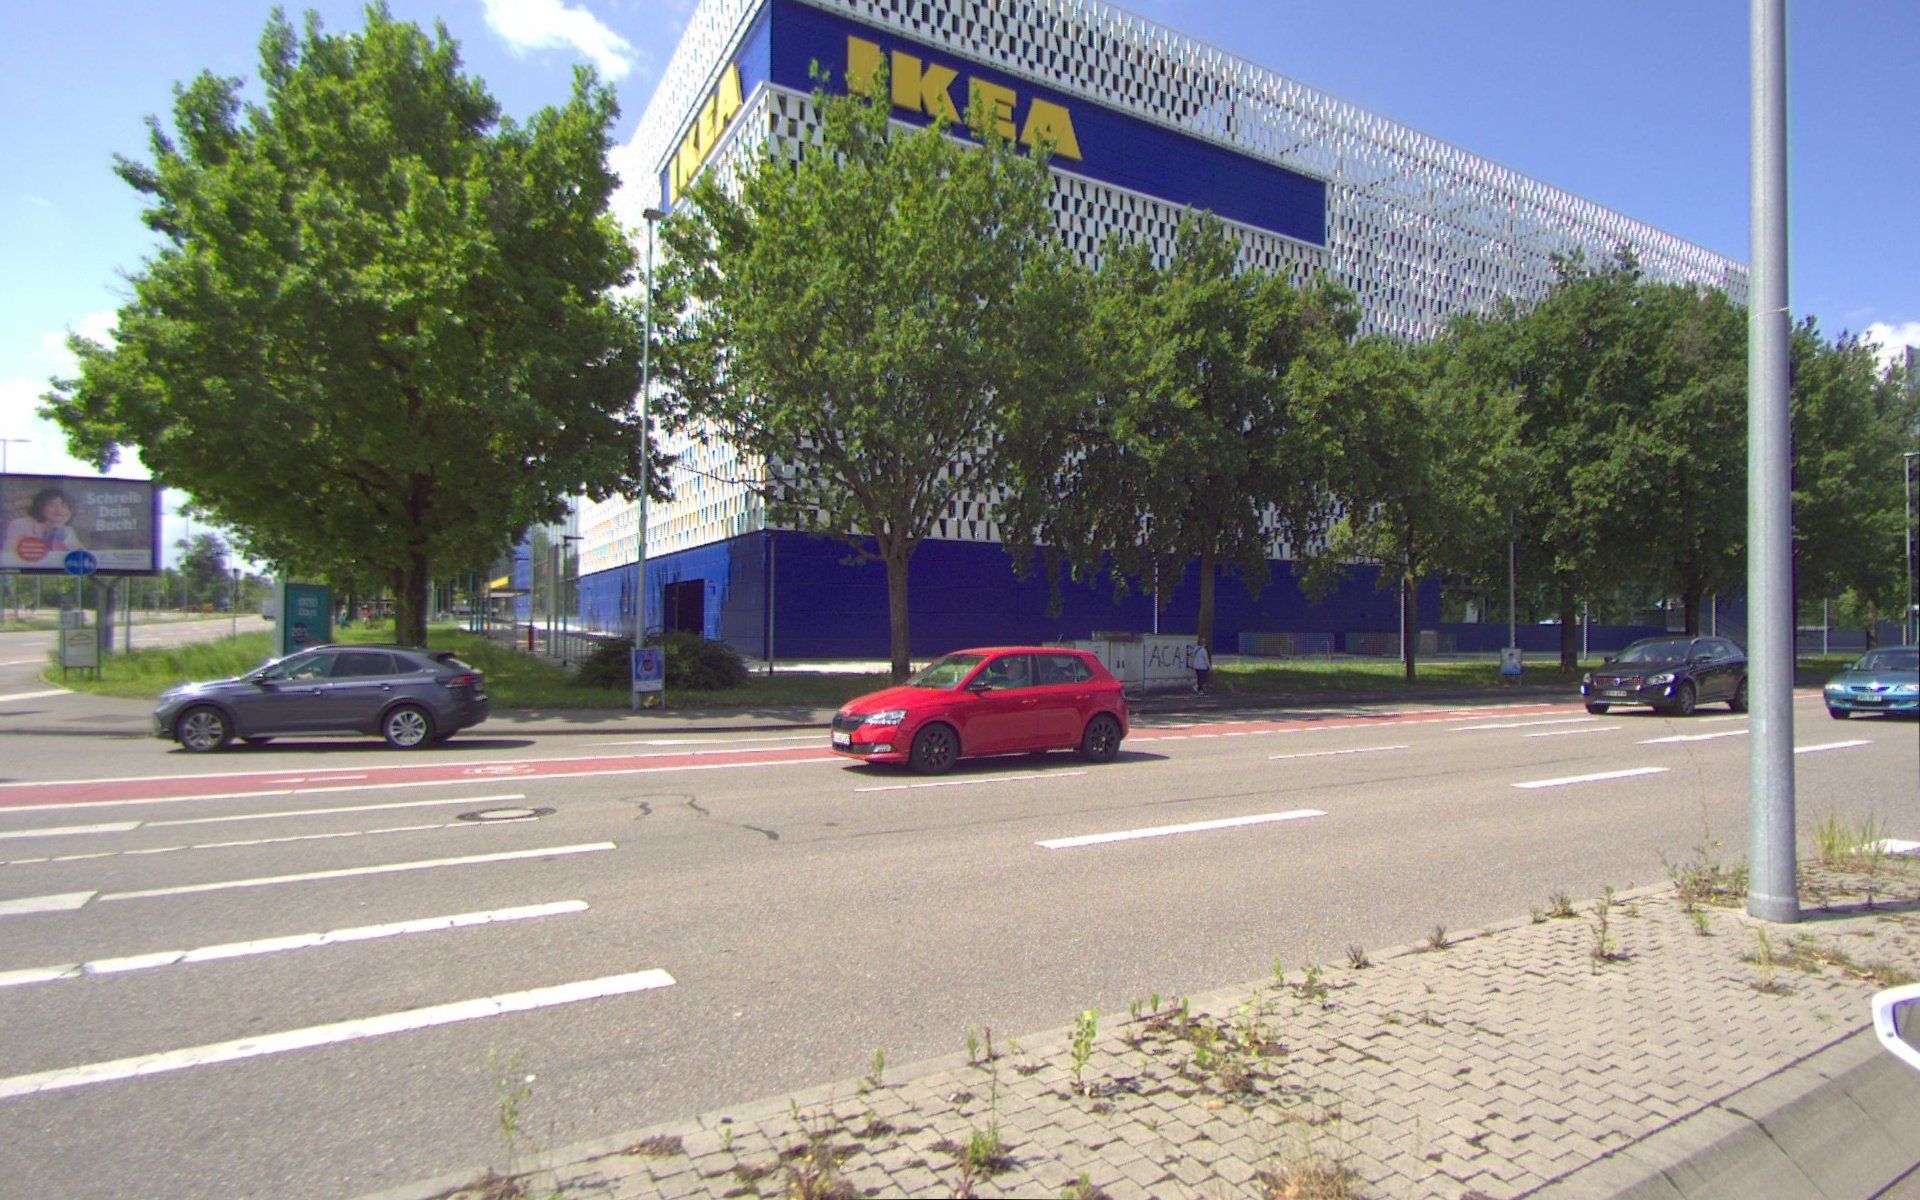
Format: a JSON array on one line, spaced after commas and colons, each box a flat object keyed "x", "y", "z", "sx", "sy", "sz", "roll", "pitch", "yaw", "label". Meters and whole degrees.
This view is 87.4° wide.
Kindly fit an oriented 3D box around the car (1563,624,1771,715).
[{"x": 15.361, "y": 1.456, "z": 21.757, "sx": 4.767, "sy": 1.778, "sz": 1.918, "roll": 1, "pitch": -4, "yaw": -32, "label": "car"}]

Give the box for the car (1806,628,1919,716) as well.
[{"x": 18.863, "y": 1.385, "z": 19.901, "sx": 4.767, "sy": 1.568, "sz": 1.764, "roll": 1, "pitch": -4, "yaw": -32, "label": "car"}]

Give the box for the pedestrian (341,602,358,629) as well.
[{"x": -41.488, "y": 1.050, "z": 68.263, "sx": 0.842, "sy": 1.751, "sz": 1.158, "roll": -1, "pitch": 1, "yaw": -24, "label": "pedestrian"}]

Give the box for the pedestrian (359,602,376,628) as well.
[{"x": -40.142, "y": 1.010, "z": 68.091, "sx": 0.842, "sy": 1.751, "sz": 1.158, "roll": -1, "pitch": 1, "yaw": -24, "label": "pedestrian"}]

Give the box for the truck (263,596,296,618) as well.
[{"x": -88.276, "y": 0.895, "z": 130.348, "sx": 2.937, "sy": 2.789, "sz": 5.742, "roll": -1, "pitch": 0, "yaw": -28, "label": "truck"}]

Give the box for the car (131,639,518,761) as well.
[{"x": -9.146, "y": 1.395, "z": 14.968, "sx": 4.516, "sy": 1.575, "sz": 1.888, "roll": 1, "pitch": -1, "yaw": -20, "label": "car"}]

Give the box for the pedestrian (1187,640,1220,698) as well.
[{"x": 6.724, "y": 1.890, "z": 27.747, "sx": 0.752, "sy": 1.576, "sz": 0.500, "roll": 1, "pitch": -1, "yaw": -30, "label": "pedestrian"}]

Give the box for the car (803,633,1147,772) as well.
[{"x": 0.234, "y": 1.194, "z": 12.657, "sx": 4.077, "sy": 1.502, "sz": 1.678, "roll": 1, "pitch": -3, "yaw": -31, "label": "car"}]
